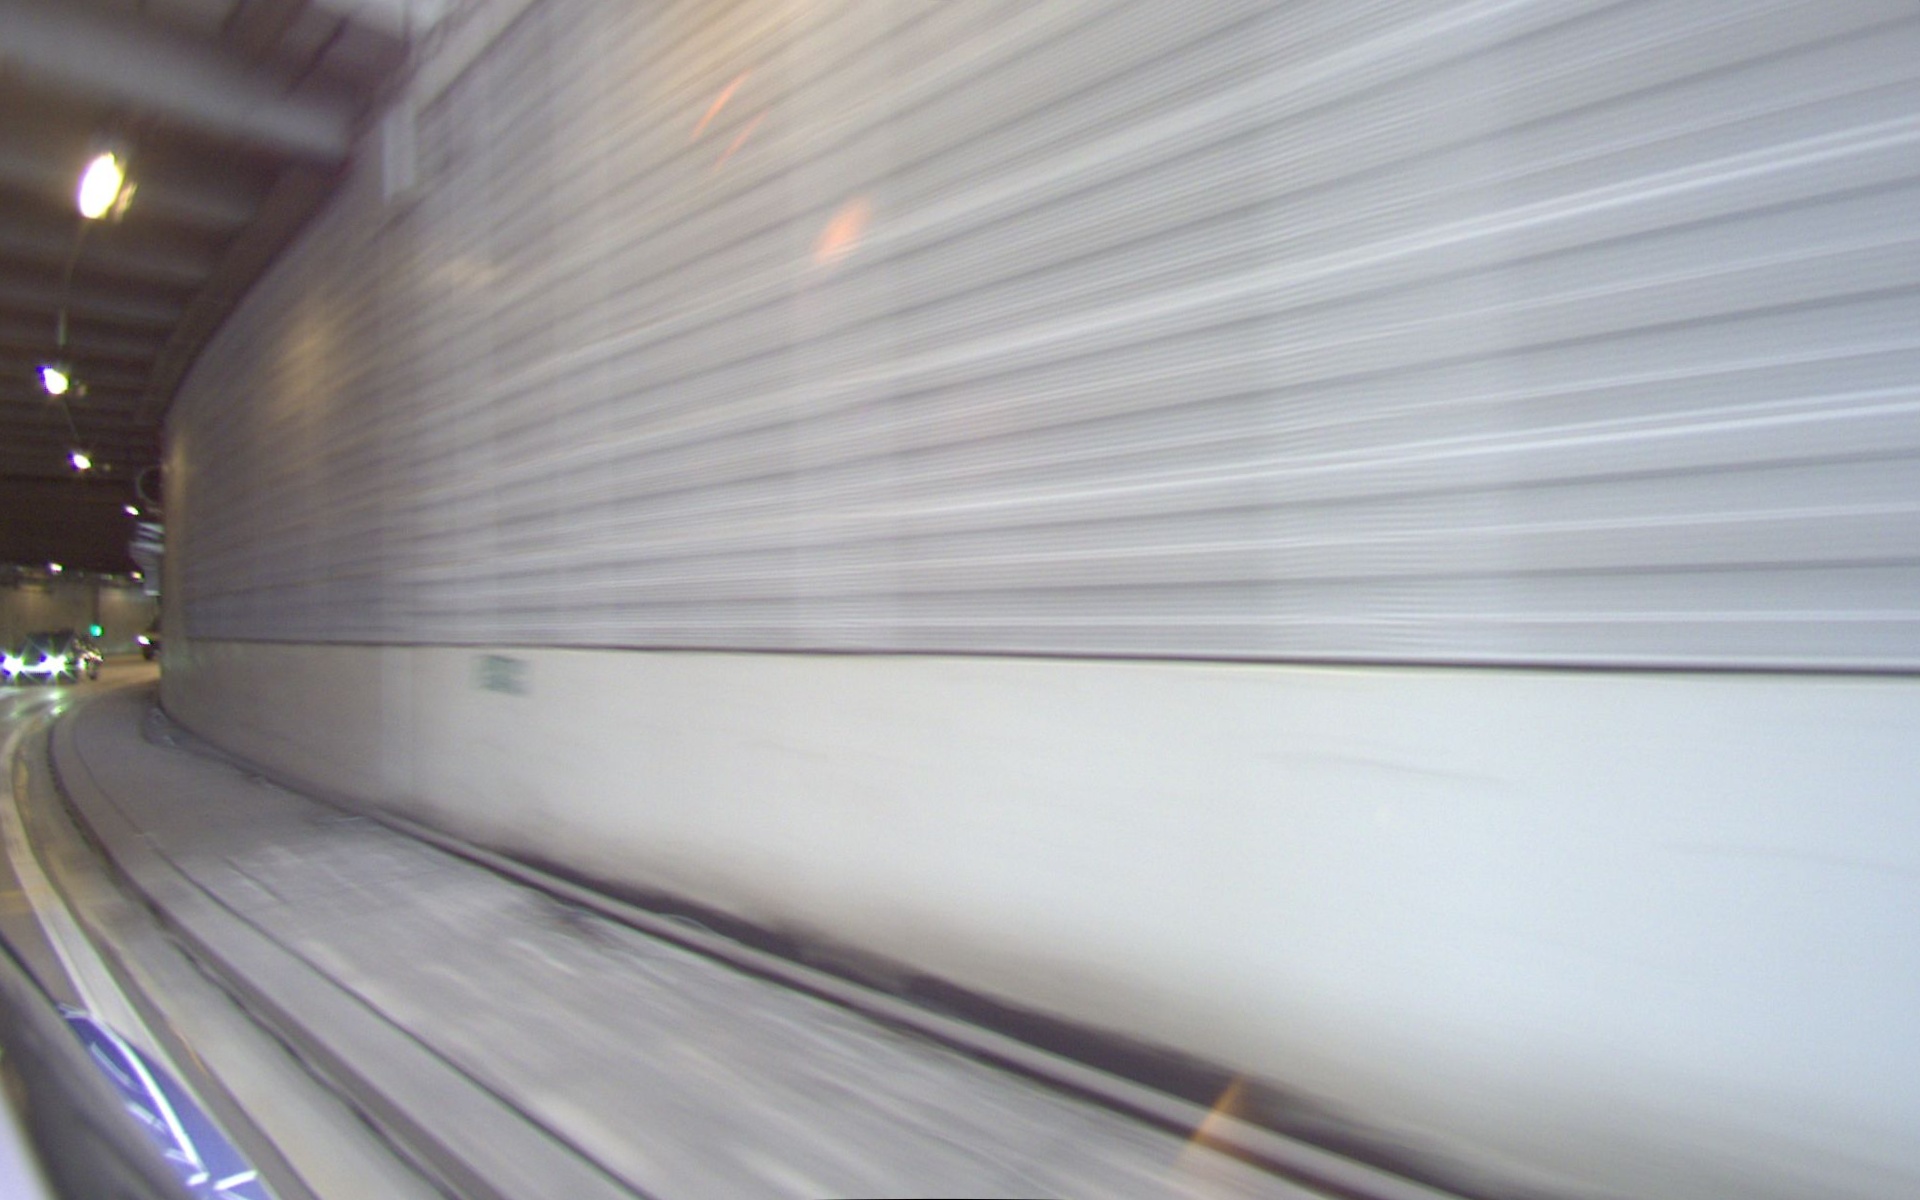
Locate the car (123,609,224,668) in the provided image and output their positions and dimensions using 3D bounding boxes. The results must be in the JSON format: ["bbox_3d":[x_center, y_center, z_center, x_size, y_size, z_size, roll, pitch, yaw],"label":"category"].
[{"bbox_3d":[-40.824,1.955,52.784,2.517,2.789,7.375,0,-1,-24],"label":"car"}]

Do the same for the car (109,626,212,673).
[{"bbox_3d":[-35.797,2.168,45.506,2.335,1.940,5.215,0,-2,-23],"label":"car"}]

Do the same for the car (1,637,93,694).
[{"bbox_3d":[-26.299,1.822,29.261,1.695,1.475,4.008,0,-1,-38],"label":"car"}]
